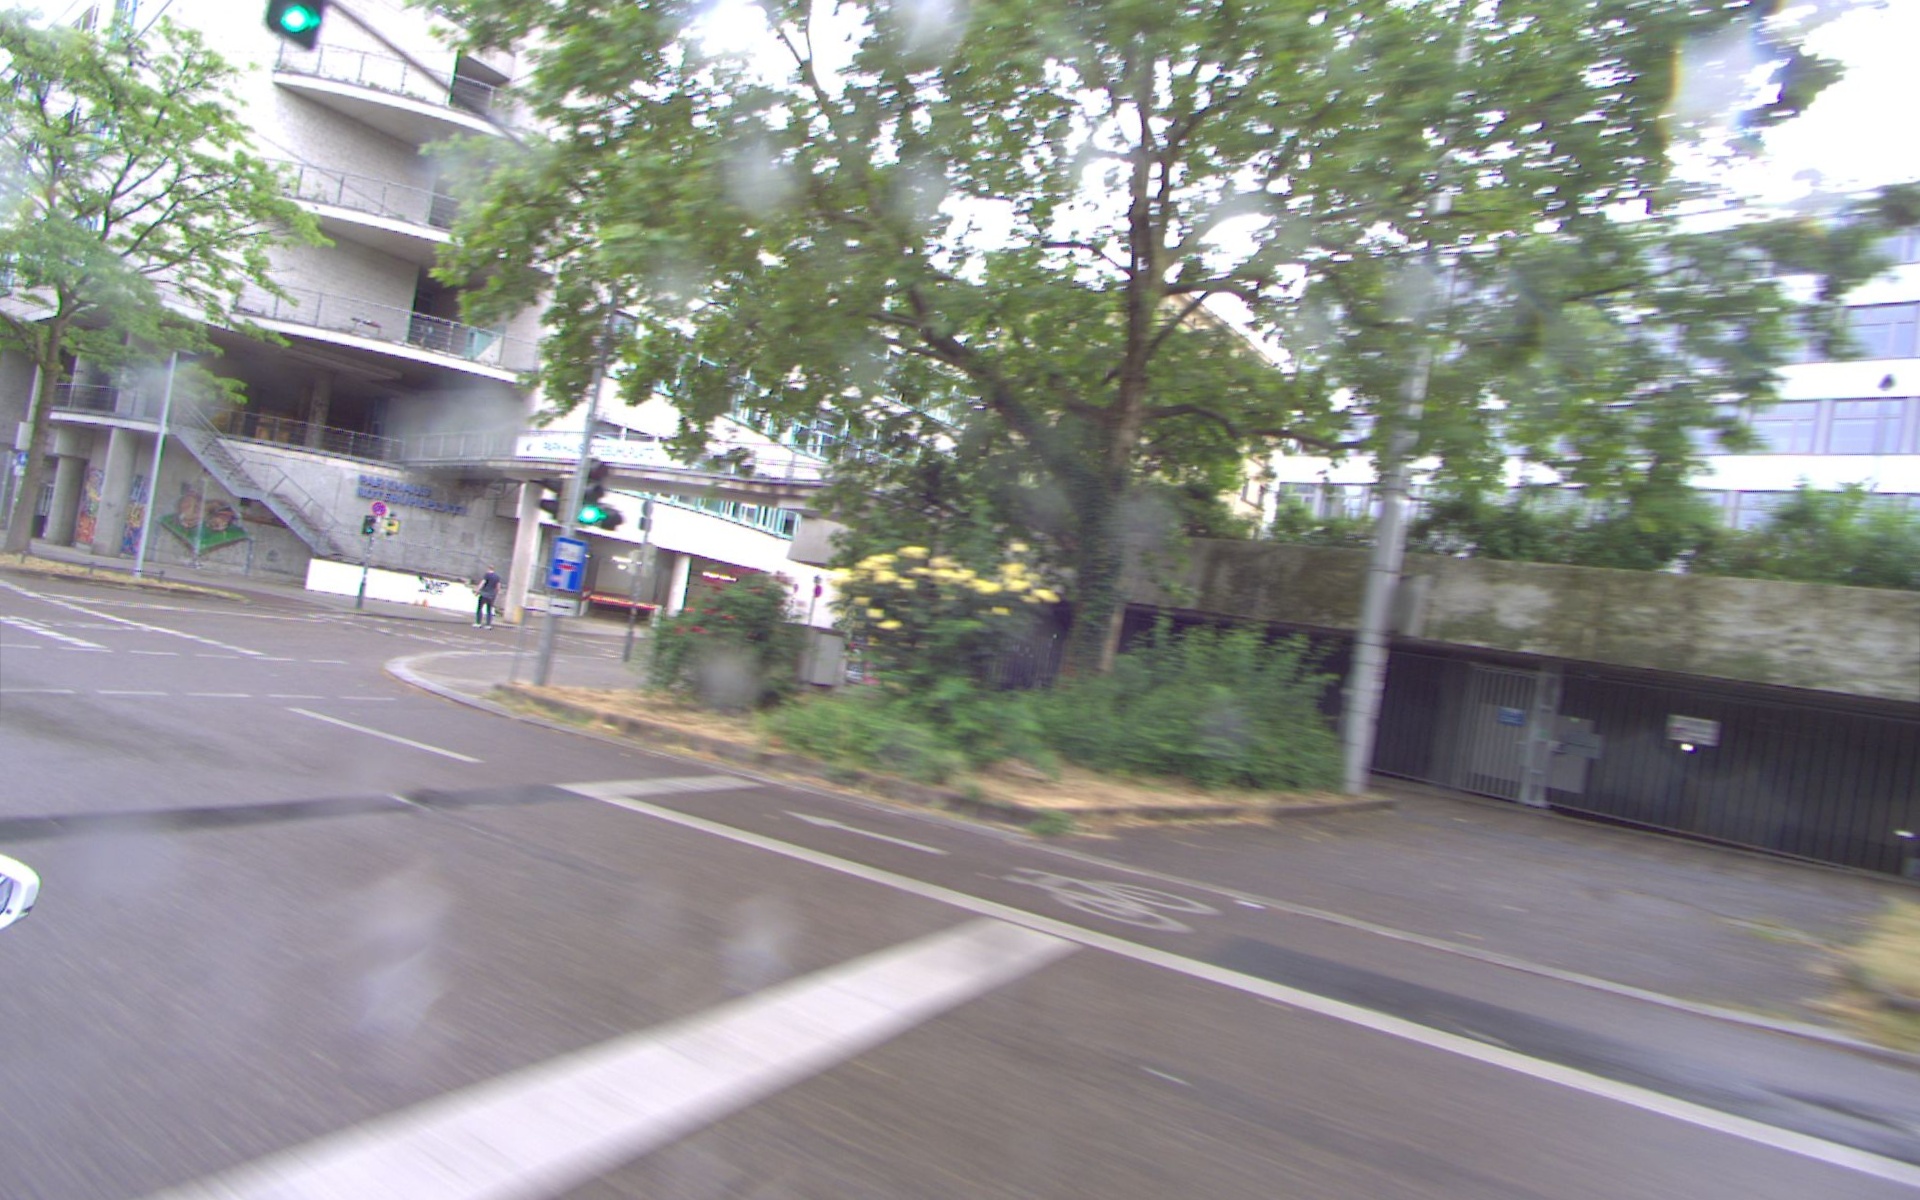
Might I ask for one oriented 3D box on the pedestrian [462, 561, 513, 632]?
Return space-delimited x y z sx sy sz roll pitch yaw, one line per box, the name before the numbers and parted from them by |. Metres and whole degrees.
pedestrian | -13.906 -0.094 29.621 0.745 1.932 0.847 7 -2 31
